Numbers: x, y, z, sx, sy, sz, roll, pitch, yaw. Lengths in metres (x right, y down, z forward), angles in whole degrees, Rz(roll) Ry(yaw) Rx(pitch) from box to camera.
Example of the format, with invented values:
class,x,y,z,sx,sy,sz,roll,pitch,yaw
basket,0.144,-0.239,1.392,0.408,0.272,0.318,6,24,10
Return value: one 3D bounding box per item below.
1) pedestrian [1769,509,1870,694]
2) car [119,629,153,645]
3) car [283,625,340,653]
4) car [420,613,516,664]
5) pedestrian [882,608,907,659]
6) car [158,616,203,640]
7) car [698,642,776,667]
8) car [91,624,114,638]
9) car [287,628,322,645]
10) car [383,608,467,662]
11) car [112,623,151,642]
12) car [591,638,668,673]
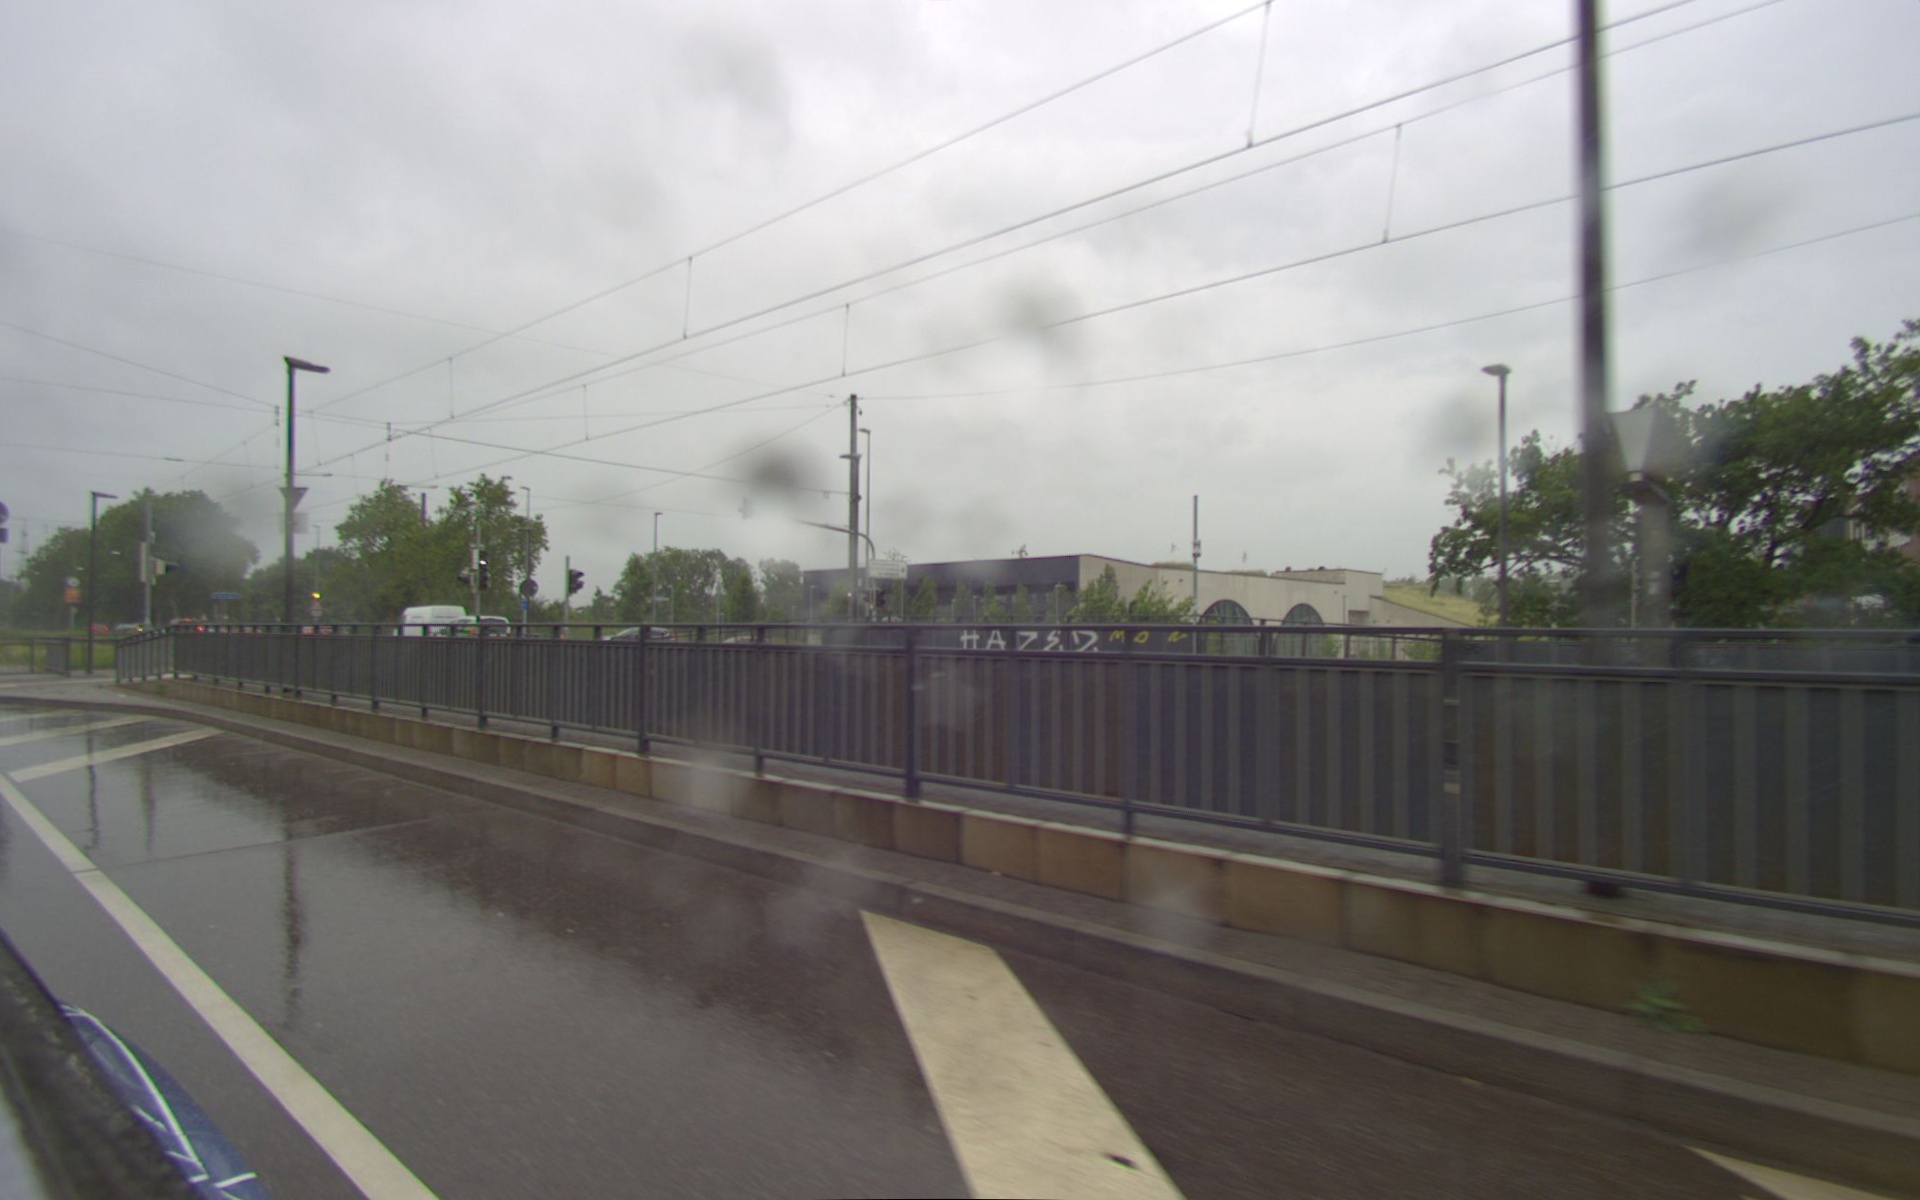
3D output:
class,x,y,z,sx,sy,sz,roll,pitch,yaw
pedestrian,19.568,0.033,23.100,1.514,4.059,1.160,-1,-1,31
car,-82.457,3.659,101.290,4.297,1.497,1.973,-1,-2,41
car,-41.668,2.486,64.994,4.623,1.720,1.972,-1,-1,42
car,-20.766,1.594,42.653,4.751,2.029,1.973,-1,-1,41
pedestrian,-2.646,1.337,40.933,0.696,2.029,0.691,-2,-2,42
car,-58.387,2.094,75.805,4.257,1.785,1.972,-1,-1,42
car,-13.831,3.380,62.821,4.304,1.453,2.004,2,-2,-39
car,-98.586,3.565,116.313,3.618,1.602,1.584,-1,-1,42
car,-68.786,3.769,106.232,1.966,1.694,4.553,0,-1,-18
car,-28.560,1.827,53.931,5.737,2.733,2.097,-1,-1,42
car,-73.777,2.894,90.112,4.380,1.608,1.972,-2,-6,42
car,-19.065,3.167,58.441,3.931,1.874,2.006,0,-1,-28
